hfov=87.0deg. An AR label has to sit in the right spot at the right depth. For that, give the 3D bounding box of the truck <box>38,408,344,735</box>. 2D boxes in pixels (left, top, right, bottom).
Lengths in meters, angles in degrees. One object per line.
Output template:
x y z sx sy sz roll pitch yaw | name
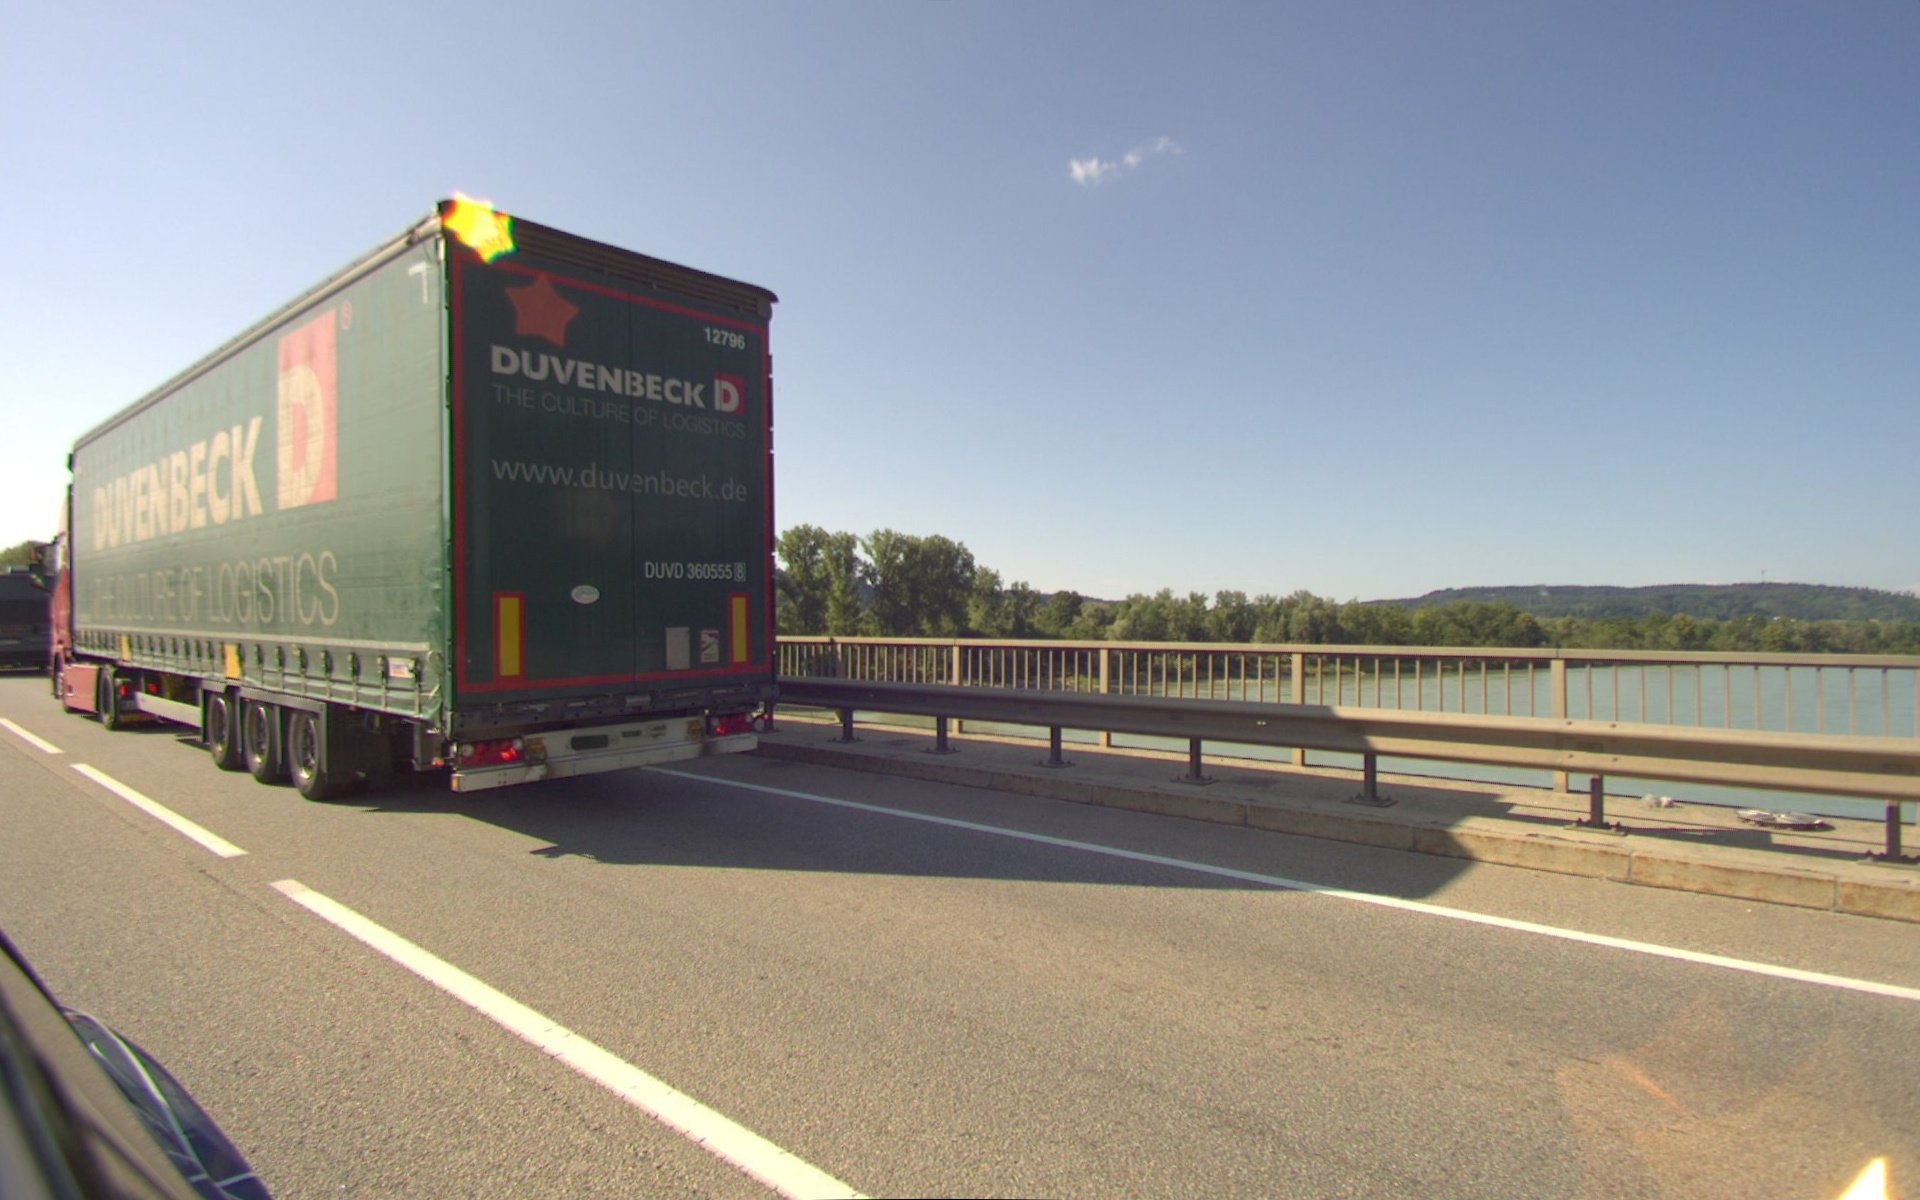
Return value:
-12.301 -0.313 16.021 5.712 4.216 2.877 -2 -1 42 | truck

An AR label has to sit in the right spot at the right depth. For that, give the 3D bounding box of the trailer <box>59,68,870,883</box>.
-6.972 -0.527 11.217 14.296 4.335 2.877 -2 -1 42 | trailer

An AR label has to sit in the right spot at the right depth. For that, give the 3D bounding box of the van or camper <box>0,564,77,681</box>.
-27.529 0.668 29.247 6.816 3.074 2.290 -2 -1 43 | van or camper
